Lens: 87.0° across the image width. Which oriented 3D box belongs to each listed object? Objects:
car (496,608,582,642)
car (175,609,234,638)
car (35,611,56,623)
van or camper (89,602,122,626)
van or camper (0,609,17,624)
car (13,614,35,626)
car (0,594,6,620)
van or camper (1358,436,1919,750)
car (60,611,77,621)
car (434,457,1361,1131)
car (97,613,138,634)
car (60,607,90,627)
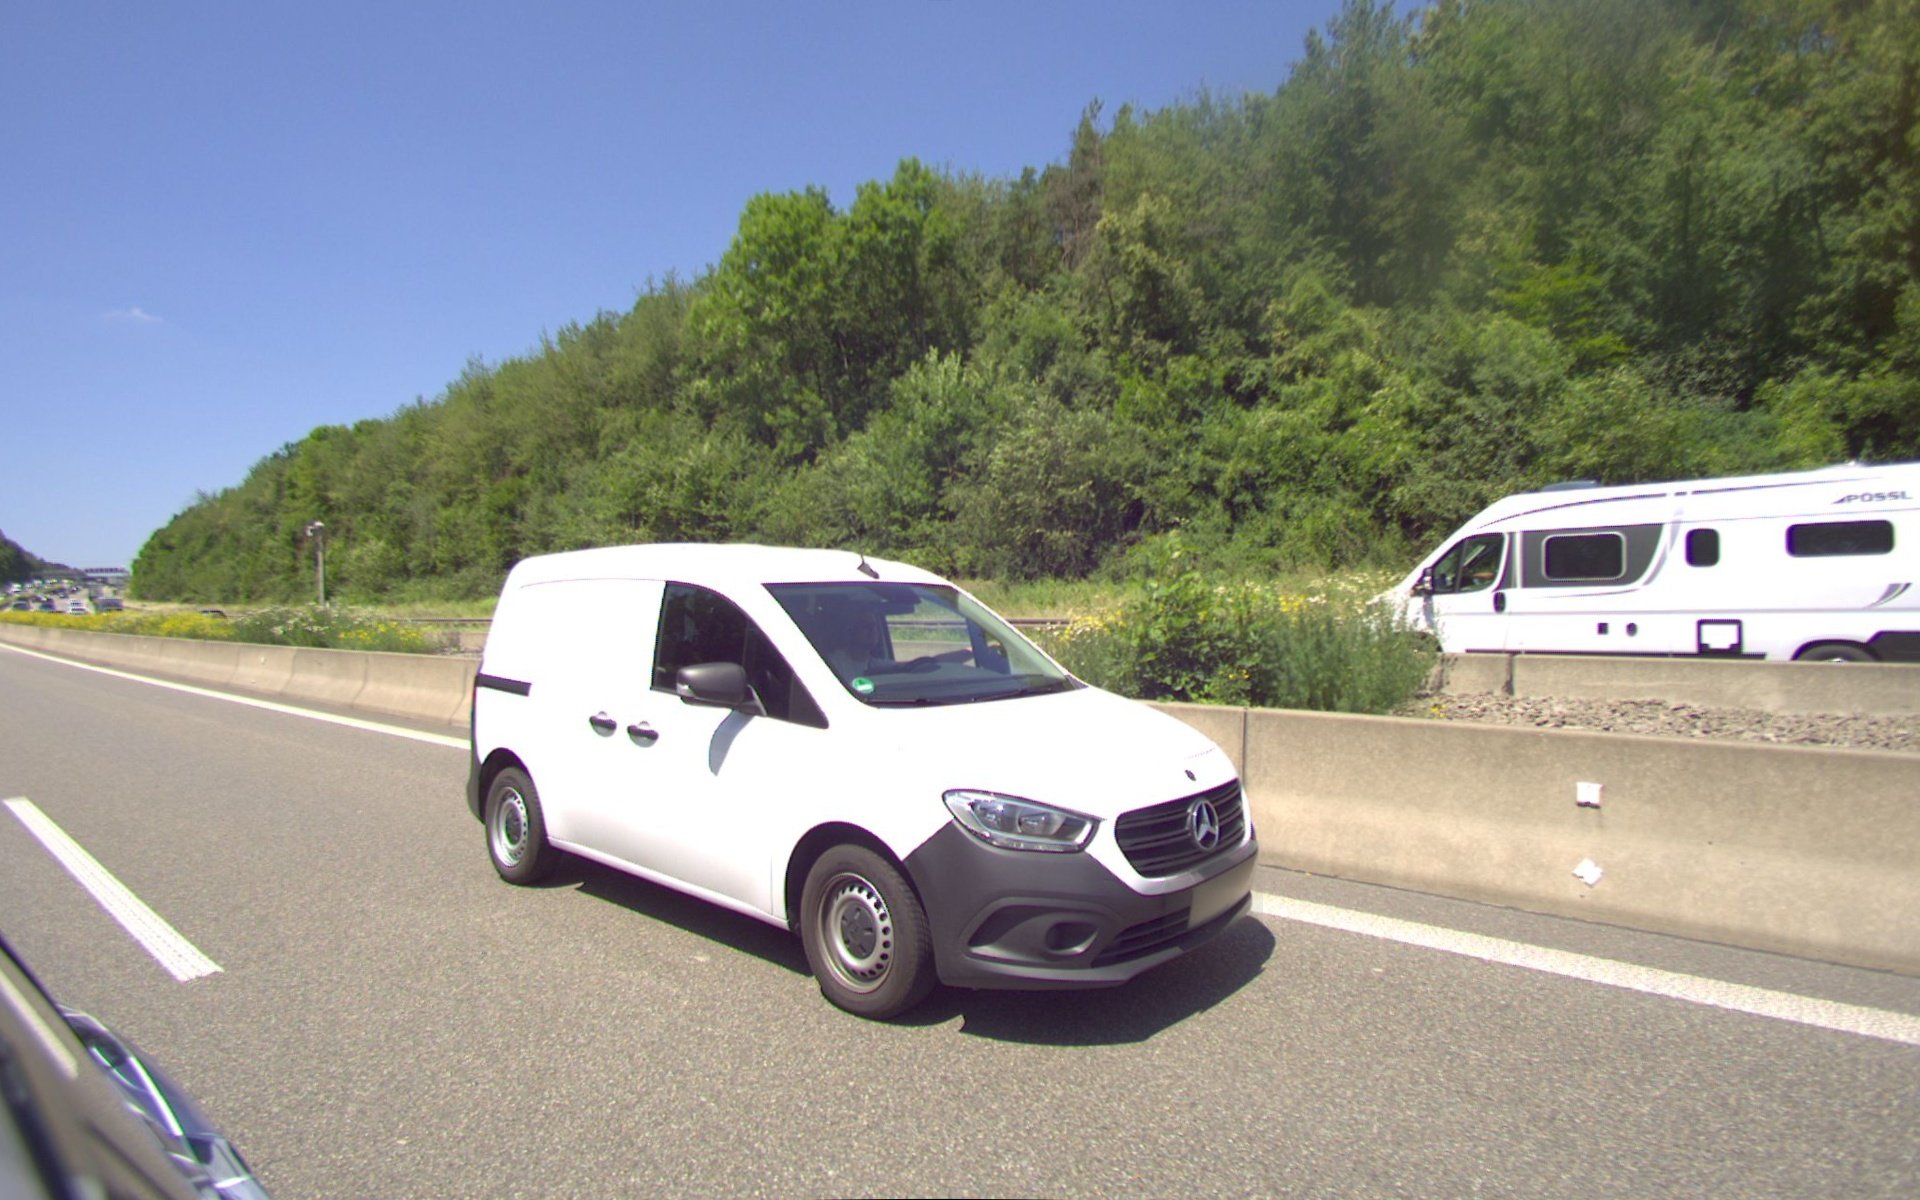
[{"bbox_3d":[-19.012,1.111,45.640,4.189,1.443,1.973,-1,-1,41],"label":"car"},{"bbox_3d":[-43.840,1.358,58.704,4.272,1.599,1.972,-1,-1,42],"label":"car"},{"bbox_3d":[-135.188,2.524,149.542,4.401,1.703,1.972,0,0,43],"label":"car"},{"bbox_3d":[-99.762,1.598,118.106,6.933,2.579,2.162,0,0,43],"label":"van or camper"},{"bbox_3d":[-135.732,2.295,143.941,4.587,2.029,1.863,0,0,42],"label":"van or camper"},{"bbox_3d":[-115.807,2.455,125.208,3.857,1.497,1.788,-1,0,44],"label":"car"},{"bbox_3d":[-77.403,0.514,80.528,4.001,2.029,1.971,0,0,44],"label":"car"},{"bbox_3d":[8.261,-0.041,11.523,6.553,2.921,2.234,-1,-1,41],"label":"van or camper"},{"bbox_3d":[-146.808,2.658,166.617,1.969,1.629,4.489,0,-1,-42],"label":"car"},{"bbox_3d":[-0.715,0.547,4.959,4.672,1.826,1.746,-1,-1,41],"label":"car"},{"bbox_3d":[-68.409,1.890,82.119,4.161,1.602,1.972,0,0,42],"label":"car"},{"bbox_3d":[-92.645,1.776,105.929,4.569,2.029,1.971,0,0,44],"label":"car"}]
